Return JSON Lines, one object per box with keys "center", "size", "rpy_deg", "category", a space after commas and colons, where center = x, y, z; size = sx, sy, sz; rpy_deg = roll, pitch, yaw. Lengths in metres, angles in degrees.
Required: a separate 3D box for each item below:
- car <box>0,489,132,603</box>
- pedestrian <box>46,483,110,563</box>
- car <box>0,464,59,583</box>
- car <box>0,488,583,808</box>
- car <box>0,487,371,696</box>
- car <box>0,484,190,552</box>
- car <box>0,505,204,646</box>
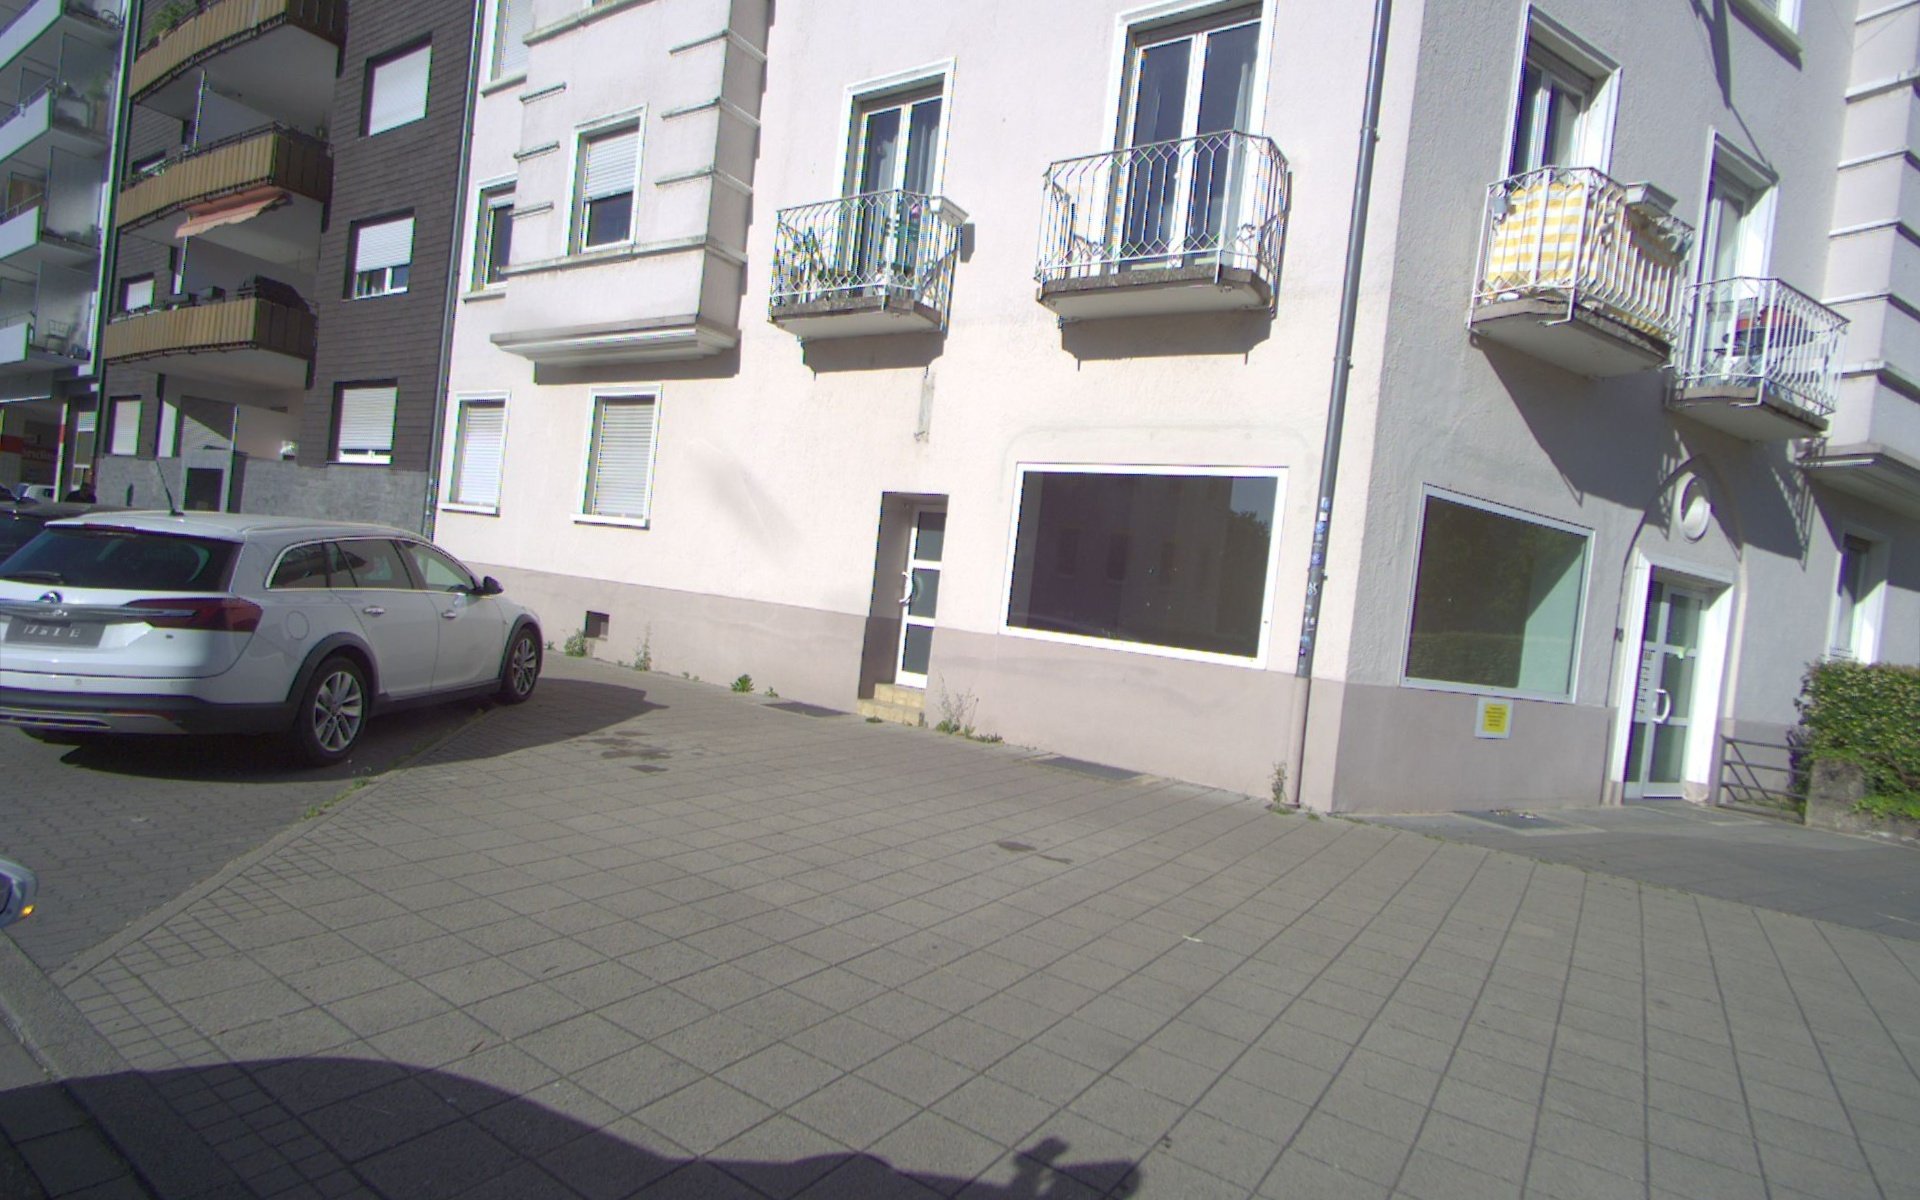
{"center": [-13.539, -0.769, 13.372], "size": [1.586, 1.509, 3.994], "rpy_deg": [4, 1, 3], "category": "car"}
{"center": [-19.201, -1.667, 21.899], "size": [0.876, 1.614, 0.831], "rpy_deg": [6, 1, 40], "category": "pedestrian"}
{"center": [-16.416, -1.281, 15.085], "size": [2.013, 1.923, 4.523], "rpy_deg": [4, 1, -6], "category": "car"}
{"center": [-4.772, 0.142, 7.559], "size": [1.937, 1.483, 4.868], "rpy_deg": [7, 2, 0], "category": "car"}
{"center": [-7.753, -0.093, 9.495], "size": [1.789, 1.515, 4.172], "rpy_deg": [5, -1, 1], "category": "car"}
{"center": [-27.041, -2.519, 31.353], "size": [1.948, 1.531, 4.392], "rpy_deg": [6, 0, 34], "category": "car"}
{"center": [-10.492, -0.319, 11.302], "size": [1.513, 1.405, 3.395], "rpy_deg": [7, -1, -5], "category": "car"}
